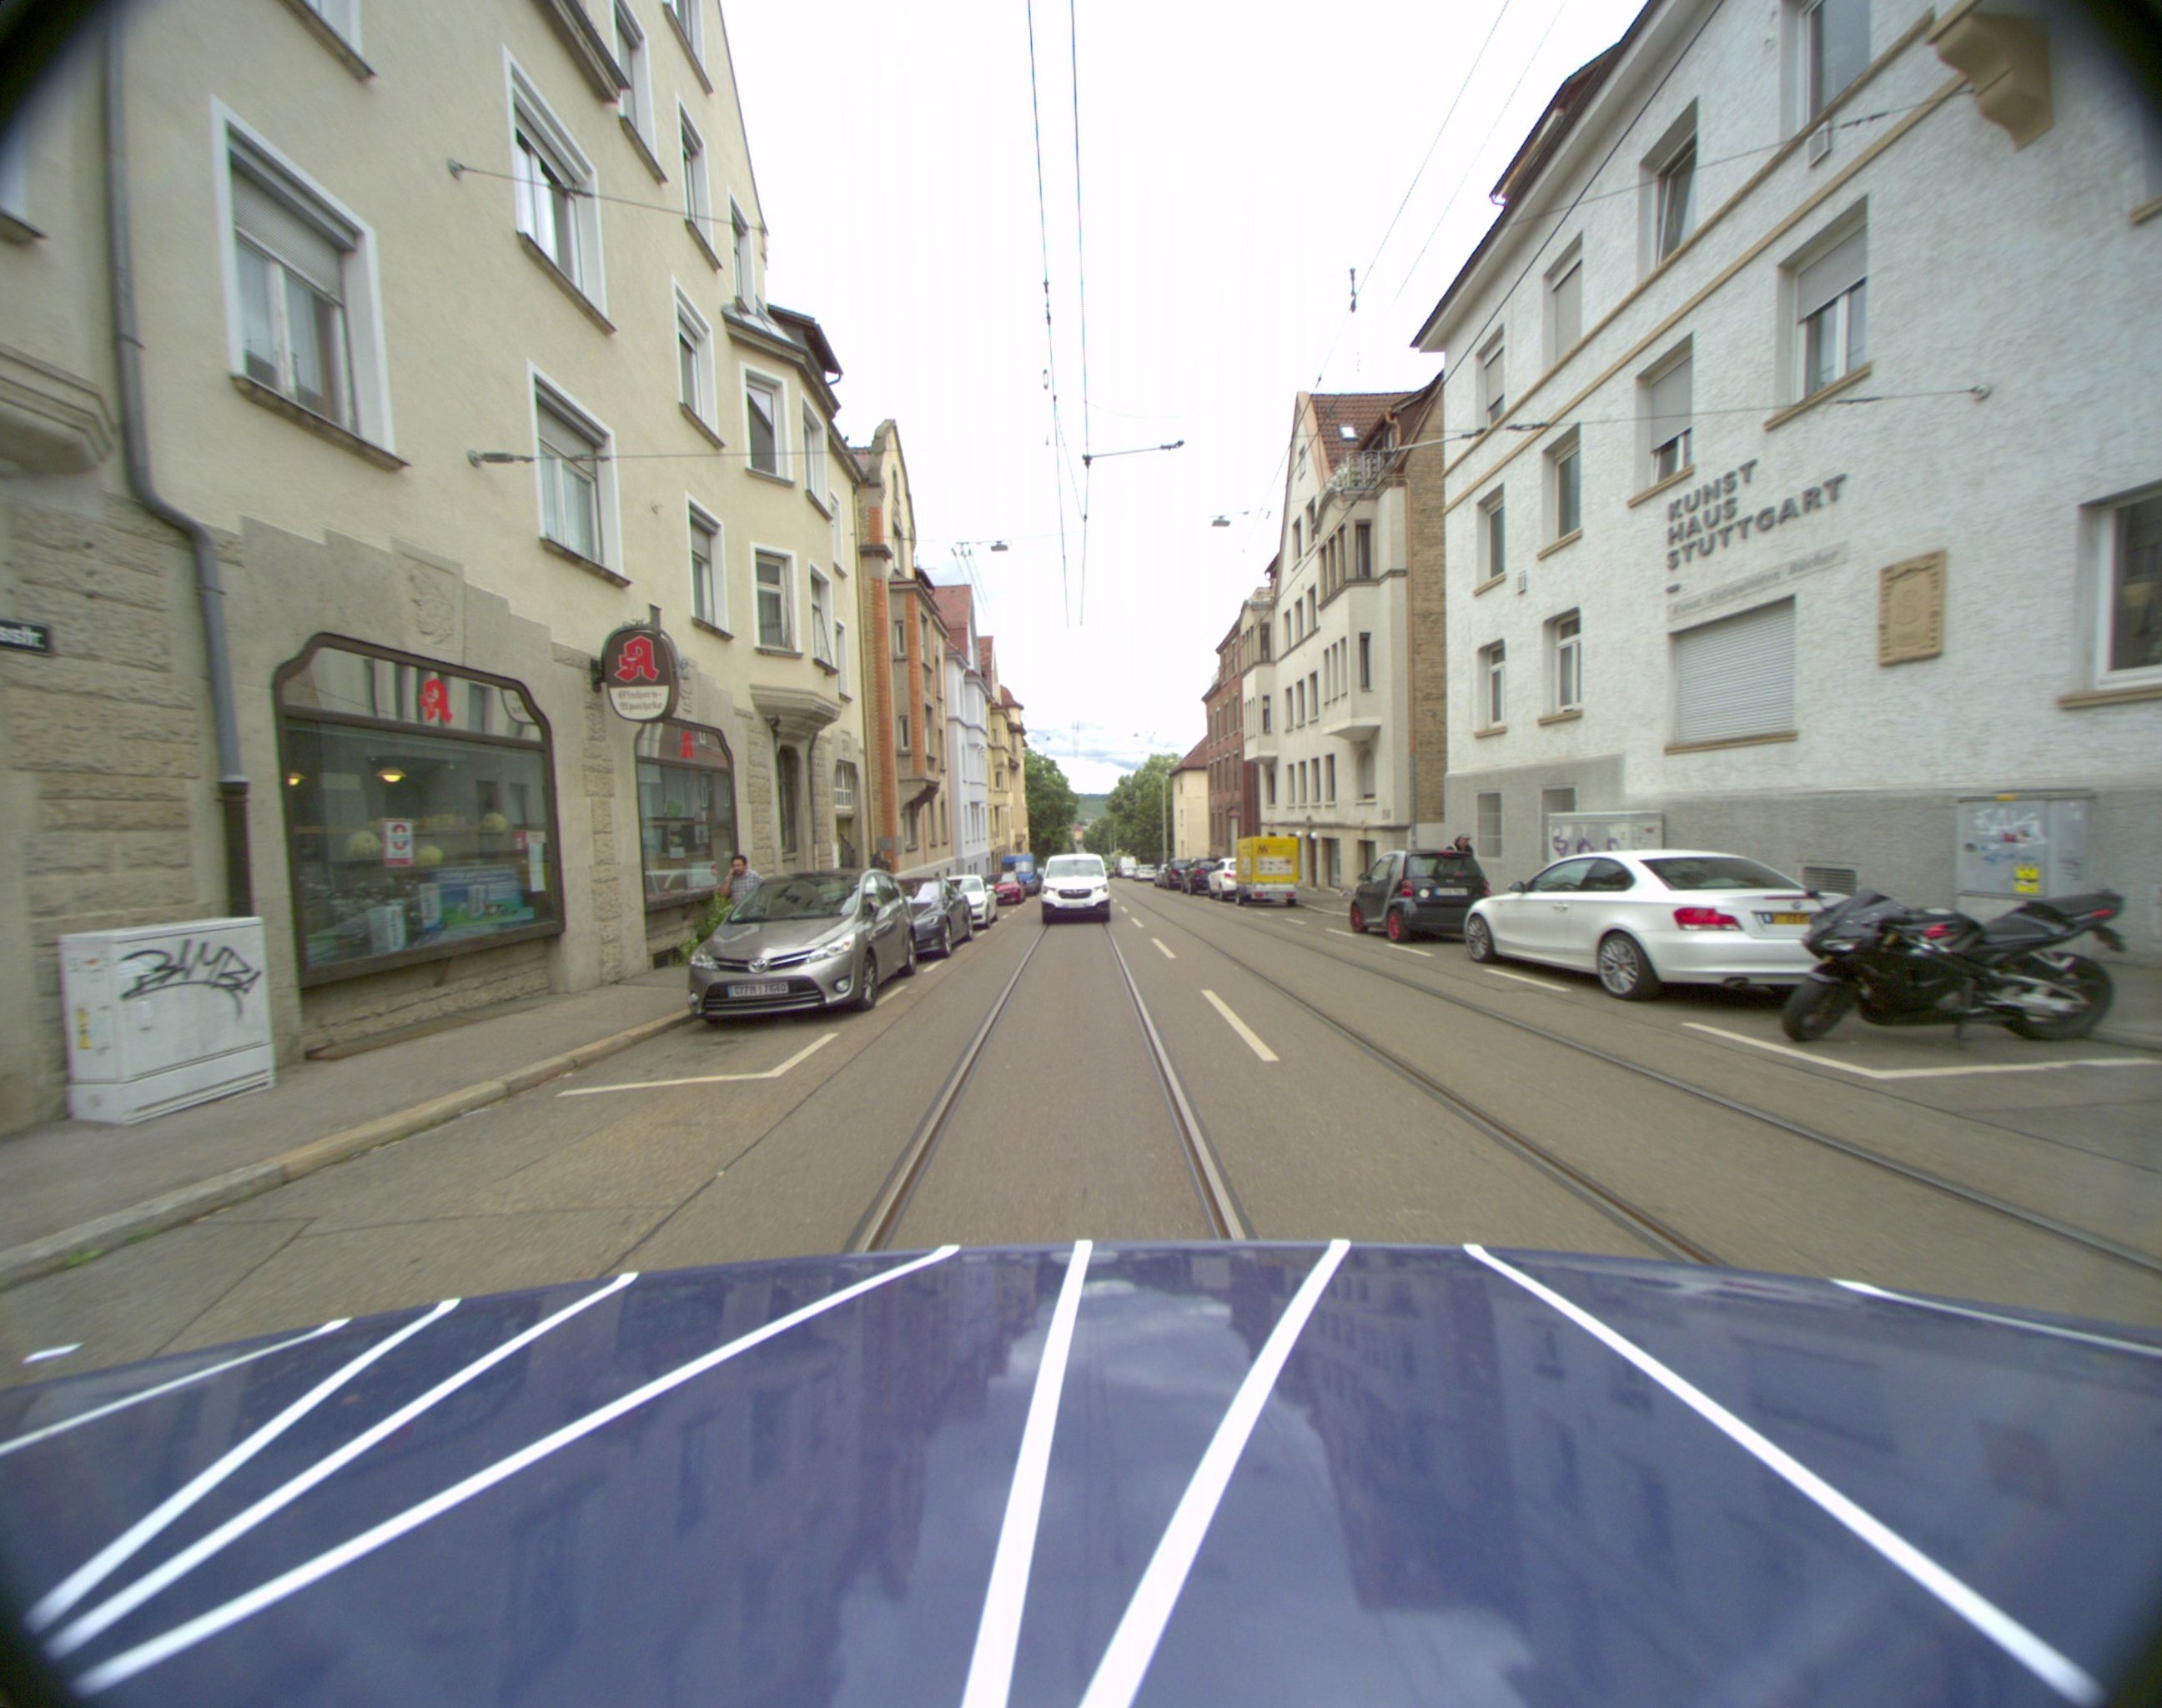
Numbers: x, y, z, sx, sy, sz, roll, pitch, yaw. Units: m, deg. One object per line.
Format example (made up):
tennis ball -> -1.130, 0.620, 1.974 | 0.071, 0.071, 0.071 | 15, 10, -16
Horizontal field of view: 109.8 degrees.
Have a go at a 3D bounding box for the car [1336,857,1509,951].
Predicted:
car -> 5.810, 0.781, 13.311 | 1.701, 1.460, 3.023 | 0, 0, 1

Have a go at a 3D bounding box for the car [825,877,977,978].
car -> -3.218, 1.249, 14.588 | 1.784, 1.382, 4.691 | -4, 0, -1

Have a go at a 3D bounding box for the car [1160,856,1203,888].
car -> 5.664, 0.999, 43.262 | 1.832, 1.708, 4.914 | 0, -1, 1

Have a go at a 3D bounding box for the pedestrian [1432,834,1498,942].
pedestrian -> 7.139, 0.618, 14.146 | 0.590, 1.895, 0.811 | -7, 1, 0

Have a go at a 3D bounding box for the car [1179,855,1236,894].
car -> 5.723, 0.906, 34.869 | 1.878, 1.654, 4.892 | 0, -1, 1

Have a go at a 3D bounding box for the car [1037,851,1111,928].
car -> -0.115, 0.883, 20.989 | 1.759, 1.824, 4.448 | -2, 0, 1

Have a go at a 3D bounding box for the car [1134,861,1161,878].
car -> 5.852, 1.331, 67.628 | 1.832, 1.420, 4.627 | 2, -1, -2

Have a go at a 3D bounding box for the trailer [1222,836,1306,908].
trailer -> 5.795, 0.558, 24.514 | 1.753, 2.143, 4.072 | 0, -1, 1

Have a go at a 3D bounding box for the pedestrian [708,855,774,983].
pedestrian -> -4.952, 0.918, 11.092 | 0.600, 1.792, 0.631 | -2, 1, 0

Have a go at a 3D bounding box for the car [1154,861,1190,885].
car -> 5.793, 1.187, 48.790 | 1.832, 1.420, 4.840 | 0, -1, 1

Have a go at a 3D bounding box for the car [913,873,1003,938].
car -> -3.229, 1.313, 20.754 | 1.755, 1.382, 4.307 | -4, 0, -1

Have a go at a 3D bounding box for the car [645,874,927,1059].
car -> -3.229, 1.110, 9.425 | 1.740, 1.528, 4.573 | -4, 0, -2

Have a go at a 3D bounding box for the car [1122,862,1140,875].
car -> 5.592, 1.624, 85.684 | 1.723, 1.394, 4.313 | 1, -1, 0

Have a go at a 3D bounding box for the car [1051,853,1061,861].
car -> -5.372, 0.673, 163.868 | 1.863, 1.434, 4.388 | -5, 0, 1

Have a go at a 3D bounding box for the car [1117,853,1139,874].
car -> 5.891, 1.173, 95.924 | 2.164, 2.591, 6.218 | 1, -1, -1

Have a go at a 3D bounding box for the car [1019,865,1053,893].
car -> -2.832, 1.544, 48.520 | 1.784, 1.521, 4.192 | -5, 0, -1

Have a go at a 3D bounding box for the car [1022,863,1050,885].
car -> -3.521, 1.558, 60.318 | 1.832, 1.510, 4.028 | -4, -1, 1

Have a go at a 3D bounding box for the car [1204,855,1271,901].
car -> 5.808, 0.873, 28.670 | 1.701, 1.584, 4.269 | 0, -1, 1

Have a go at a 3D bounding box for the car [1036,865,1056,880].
car -> -3.425, 1.823, 75.554 | 1.699, 1.395, 3.668 | -4, -1, 1

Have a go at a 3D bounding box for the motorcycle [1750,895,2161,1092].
motorcycle -> 5.891, 0.851, 5.002 | 2.111, 1.127, 0.767 | -1, 0, 14

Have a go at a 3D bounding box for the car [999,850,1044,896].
car -> -3.272, 1.003, 42.787 | 1.998, 2.362, 5.056 | -2, 0, 0

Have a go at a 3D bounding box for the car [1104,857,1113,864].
car -> 6.078, 1.387, 171.229 | 1.856, 1.531, 3.948 | -2, -1, 0

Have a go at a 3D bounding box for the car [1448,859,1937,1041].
car -> 5.802, 0.770, 8.075 | 1.784, 1.349, 4.292 | -2, 0, 1

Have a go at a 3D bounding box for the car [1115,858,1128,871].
car -> 5.808, 1.536, 110.119 | 1.766, 1.765, 4.669 | 1, 0, 1
